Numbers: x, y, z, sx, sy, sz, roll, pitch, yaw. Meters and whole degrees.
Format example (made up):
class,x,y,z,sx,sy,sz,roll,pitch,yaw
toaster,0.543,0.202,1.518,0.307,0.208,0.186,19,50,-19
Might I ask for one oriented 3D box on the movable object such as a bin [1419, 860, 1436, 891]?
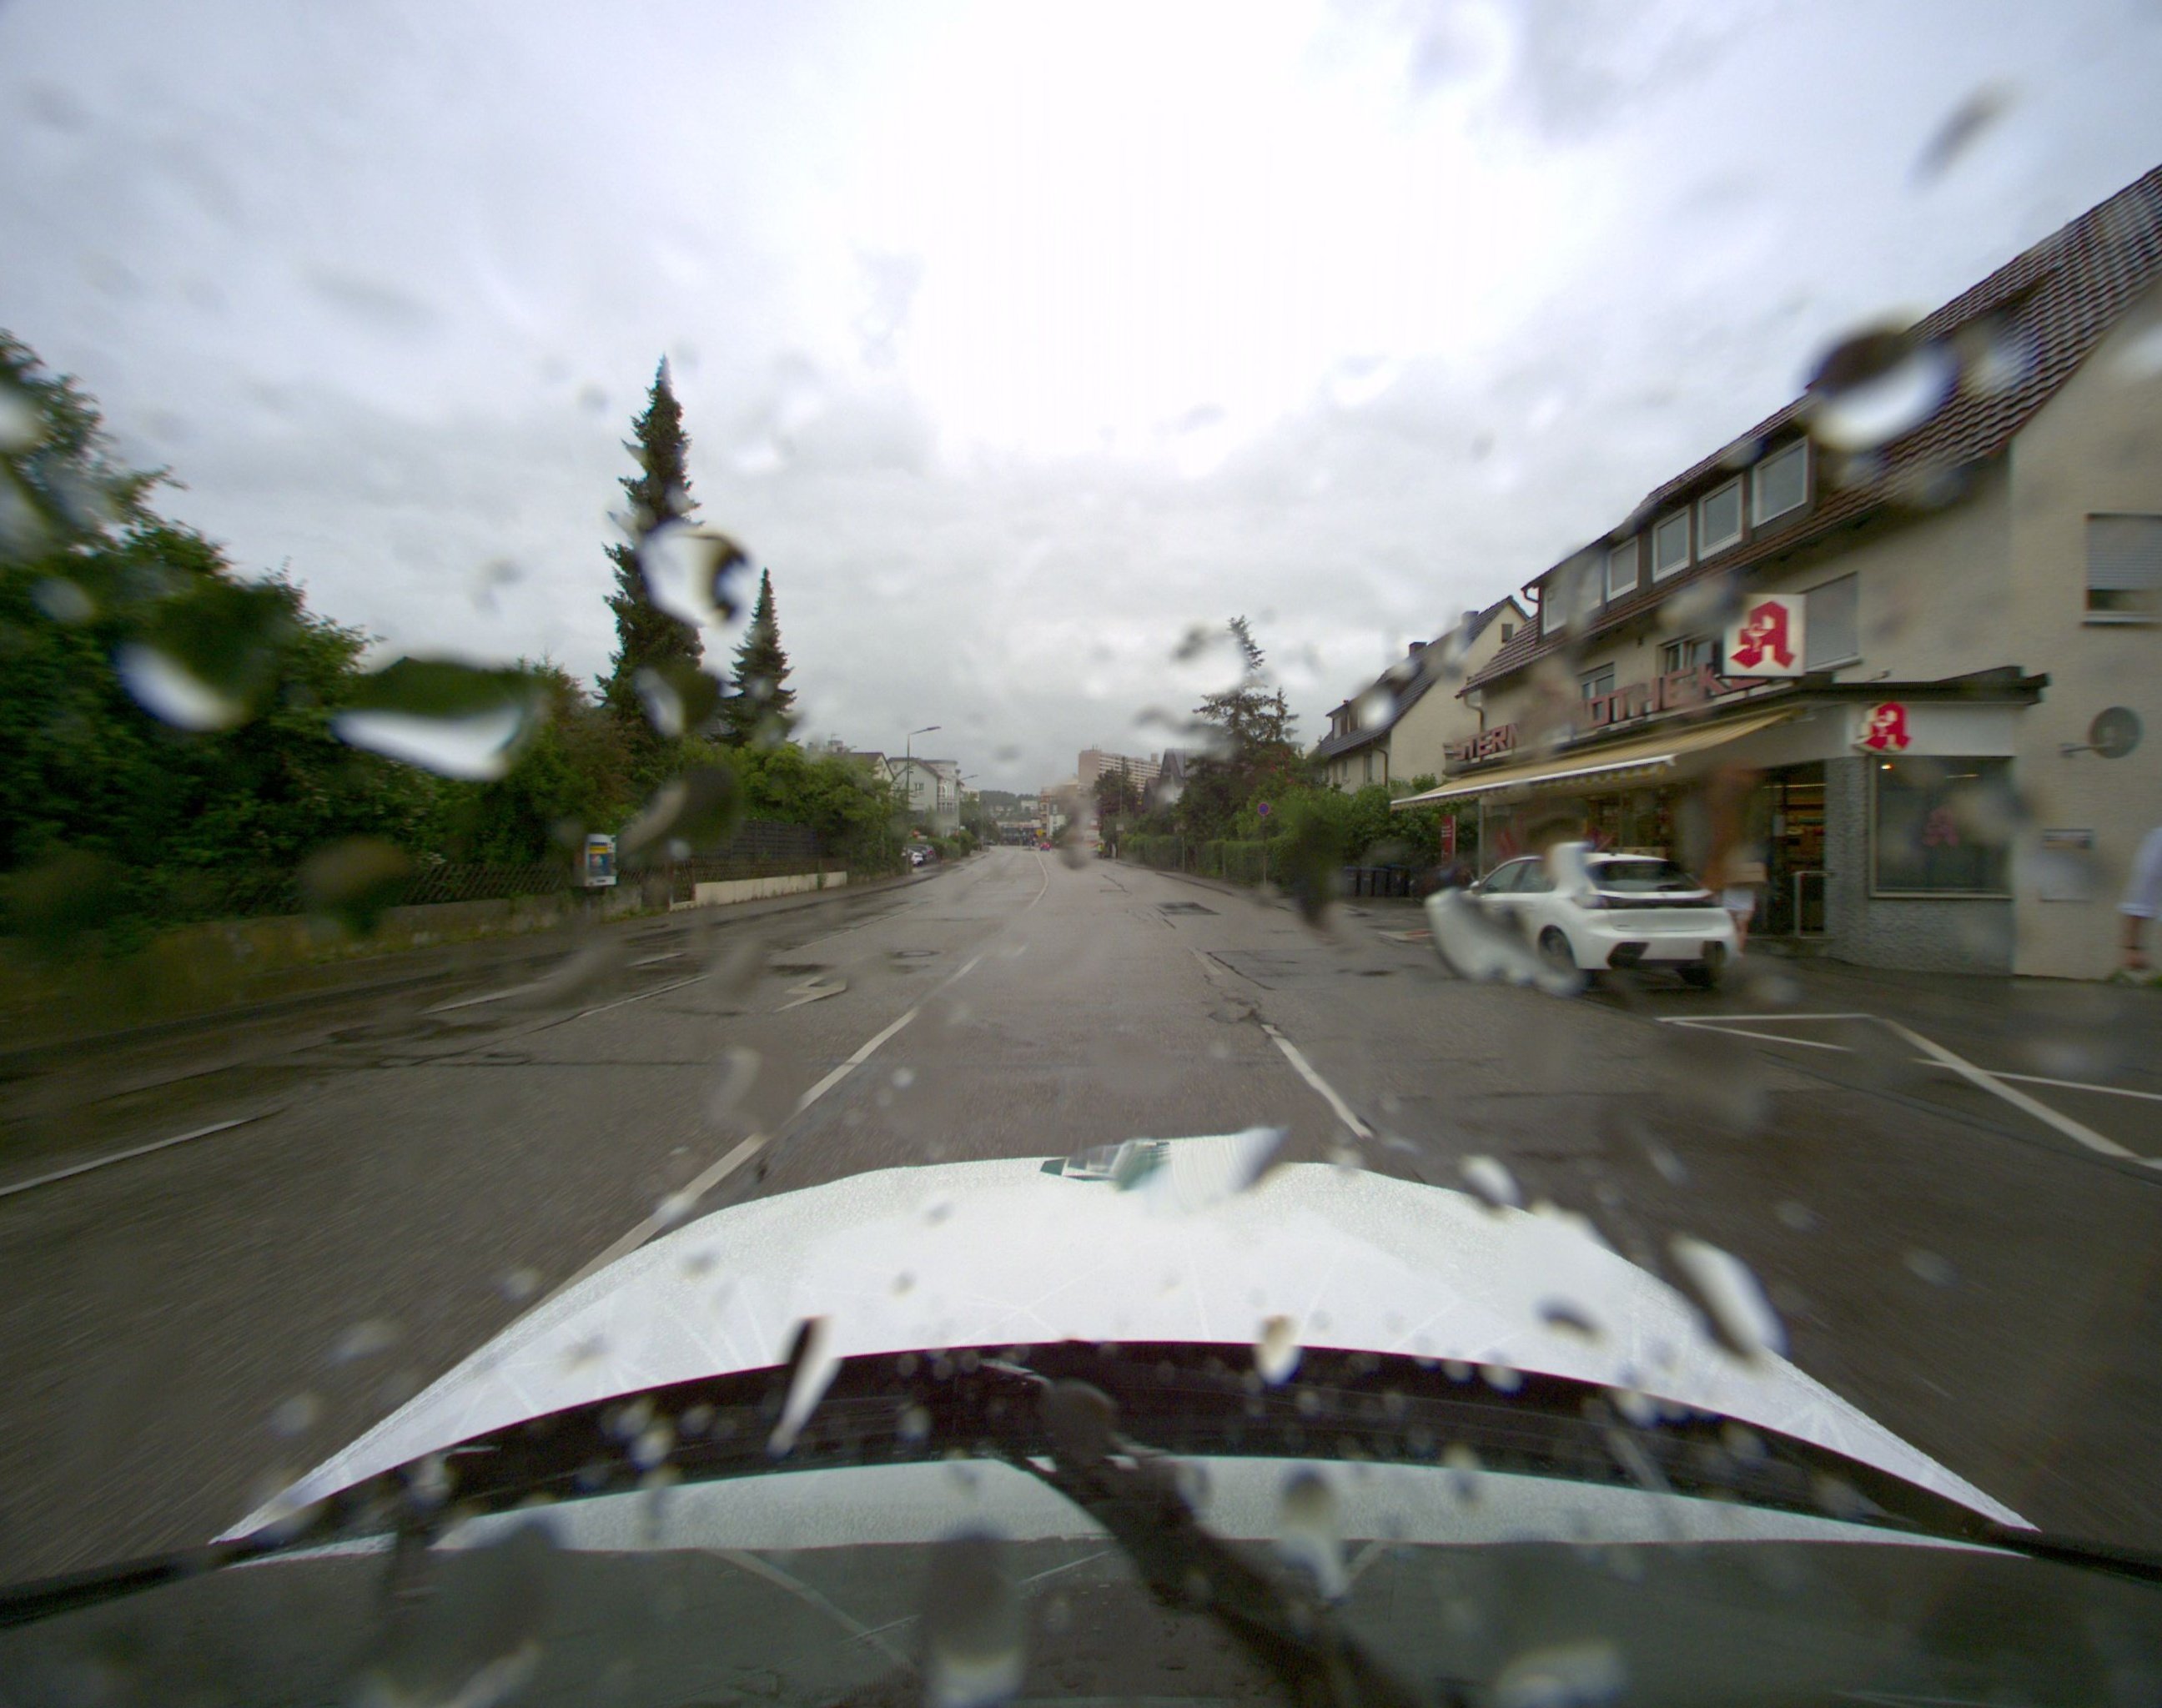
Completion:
class,x,y,z,sx,sy,sz,roll,pitch,yaw
movable object such as a bin,11.030,0.680,25.917,0.365,0.987,0.355,0,0,-1

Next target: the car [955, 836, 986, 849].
class,x,y,z,sx,sy,sz,roll,pitch,yaw
car,-18.147,-1.826,133.871,4.493,2.013,2.006,2,1,10

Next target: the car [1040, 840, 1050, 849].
class,x,y,z,sx,sy,sz,roll,pitch,yaw
car,-6.428,-1.697,146.245,1.789,1.669,3.997,-1,0,-2

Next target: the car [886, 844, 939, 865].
class,x,y,z,sx,sy,sz,roll,pitch,yaw
car,-14.185,0.034,68.473,3.958,1.686,1.816,0,0,14

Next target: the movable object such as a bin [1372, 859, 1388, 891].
class,x,y,z,sx,sy,sz,roll,pitch,yaw
movable object such as a bin,9.519,0.658,25.908,0.365,0.987,0.355,0,0,-1

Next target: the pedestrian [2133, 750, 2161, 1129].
class,x,y,z,sx,sy,sz,roll,pitch,yaw
pedestrian,5.635,0.426,3.876,0.616,1.891,0.651,0,0,37

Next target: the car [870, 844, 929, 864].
class,x,y,z,sx,sy,sz,roll,pitch,yaw
car,-13.903,-0.026,62.444,3.971,1.434,1.973,1,1,3

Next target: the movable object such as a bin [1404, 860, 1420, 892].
class,x,y,z,sx,sy,sz,roll,pitch,yaw
movable object such as a bin,10.536,0.693,25.927,0.365,0.987,0.355,0,0,-1

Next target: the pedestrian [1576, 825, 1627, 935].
class,x,y,z,sx,sy,sz,roll,pitch,yaw
pedestrian,8.188,0.397,12.813,0.554,1.678,0.511,0,0,-36

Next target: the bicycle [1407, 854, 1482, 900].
class,x,y,z,sx,sy,sz,roll,pitch,yaw
bicycle,9.173,0.572,20.613,1.632,1.048,0.626,-4,-1,20

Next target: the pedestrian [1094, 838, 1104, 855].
class,x,y,z,sx,sy,sz,roll,pitch,yaw
pedestrian,1.930,-0.799,87.312,0.826,1.726,0.835,0,1,-21

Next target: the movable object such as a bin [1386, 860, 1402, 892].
class,x,y,z,sx,sy,sz,roll,pitch,yaw
movable object such as a bin,9.961,0.696,25.900,0.365,0.987,0.355,0,0,-1

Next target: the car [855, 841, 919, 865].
class,x,y,z,sx,sy,sz,roll,pitch,yaw
car,-14.200,-0.057,59.716,4.083,1.585,1.957,2,0,1

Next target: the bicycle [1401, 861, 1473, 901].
class,x,y,z,sx,sy,sz,roll,pitch,yaw
bicycle,9.272,0.707,21.251,1.632,0.933,0.626,-4,-1,20

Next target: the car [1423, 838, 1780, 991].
class,x,y,z,sx,sy,sz,roll,pitch,yaw
car,5.971,0.589,10.069,1.808,1.448,4.205,-2,0,2

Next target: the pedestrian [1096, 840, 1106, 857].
class,x,y,z,sx,sy,sz,roll,pitch,yaw
pedestrian,2.108,-0.632,86.461,0.826,1.797,0.795,0,1,-21

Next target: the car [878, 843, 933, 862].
class,x,y,z,sx,sy,sz,roll,pitch,yaw
car,-13.974,-0.109,64.975,3.969,1.446,1.708,0,0,4

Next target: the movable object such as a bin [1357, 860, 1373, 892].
class,x,y,z,sx,sy,sz,roll,pitch,yaw
movable object such as a bin,9.011,0.703,25.866,0.365,0.987,0.355,0,0,-1

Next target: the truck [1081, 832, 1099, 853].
class,x,y,z,sx,sy,sz,roll,pitch,yaw
truck,1.030,-1.295,91.101,1.987,2.303,4.000,0,1,0
